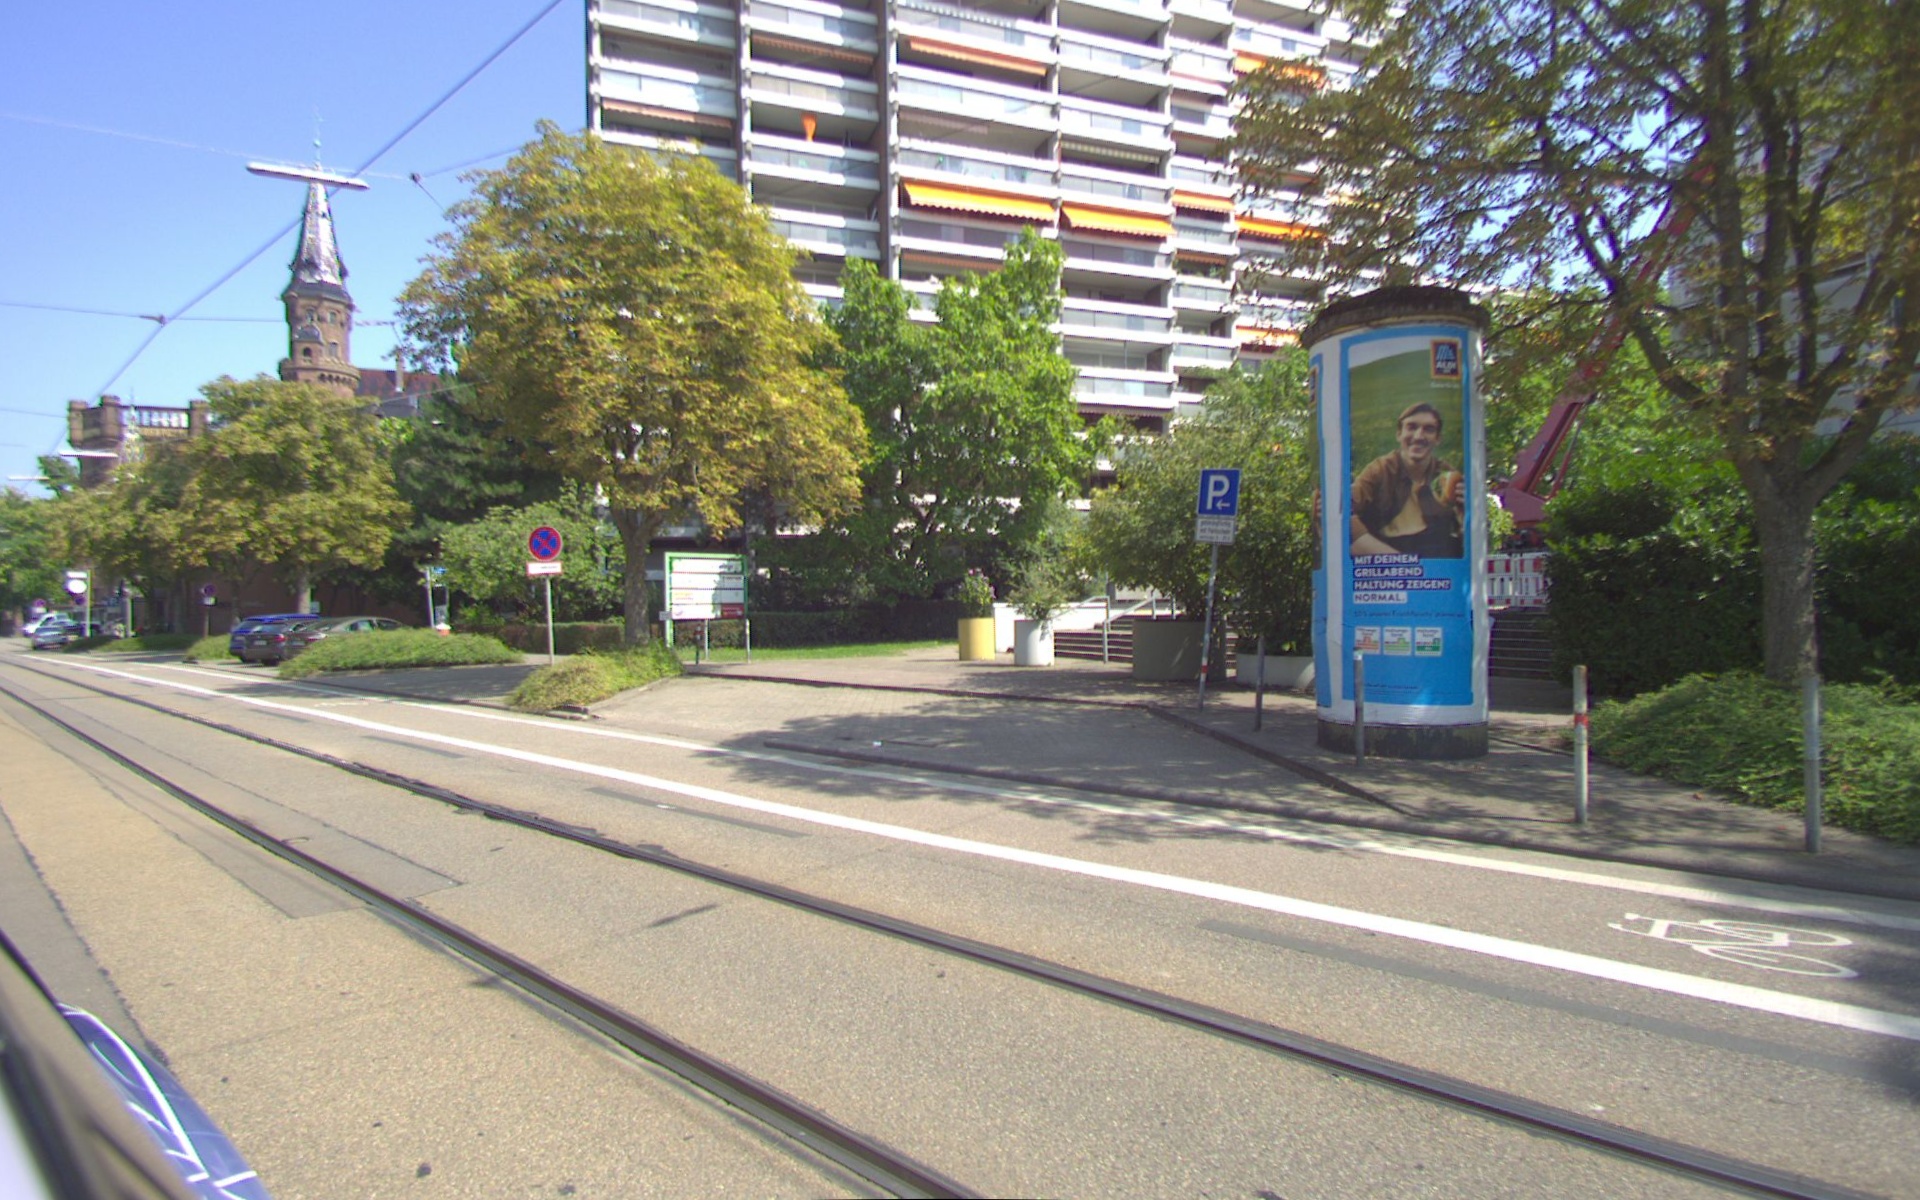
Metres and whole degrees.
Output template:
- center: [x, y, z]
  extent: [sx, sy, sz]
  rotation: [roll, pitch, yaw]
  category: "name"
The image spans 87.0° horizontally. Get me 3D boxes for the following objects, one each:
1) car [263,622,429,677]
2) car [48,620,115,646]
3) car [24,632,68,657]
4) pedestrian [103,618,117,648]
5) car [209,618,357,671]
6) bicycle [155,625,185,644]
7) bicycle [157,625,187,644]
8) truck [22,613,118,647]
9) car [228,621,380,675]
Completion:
- center: [-18.642, 1.464, 30.975]
  extent: [1.765, 1.508, 4.273]
  rotation: [-2, -1, 17]
  category: "car"
- center: [-79.083, 2.957, 91.162]
  extent: [2.001, 1.811, 4.348]
  rotation: [-2, 3, 45]
  category: "car"
- center: [-59.089, 2.849, 65.418]
  extent: [1.913, 1.513, 4.517]
  rotation: [0, -1, -44]
  category: "car"
- center: [-57.332, 2.210, 68.284]
  extent: [0.498, 1.996, 0.519]
  rotation: [-1, 0, -3]
  category: "pedestrian"
- center: [-23.435, 1.506, 35.193]
  extent: [1.828, 1.660, 3.974]
  rotation: [-2, -1, 20]
  category: "car"
- center: [-51.449, 2.233, 65.937]
  extent: [0.376, 1.069, 1.433]
  rotation: [-2, 4, 33]
  category: "bicycle"
- center: [-51.188, 2.226, 65.762]
  extent: [0.376, 1.069, 1.433]
  rotation: [-2, 4, 33]
  category: "bicycle"
- center: [-83.470, 2.784, 94.964]
  extent: [2.317, 2.543, 6.425]
  rotation: [-2, 3, 43]
  category: "truck"
- center: [-21.138, 1.513, 32.814]
  extent: [1.765, 1.582, 3.979]
  rotation: [-2, -1, 16]
  category: "car"
